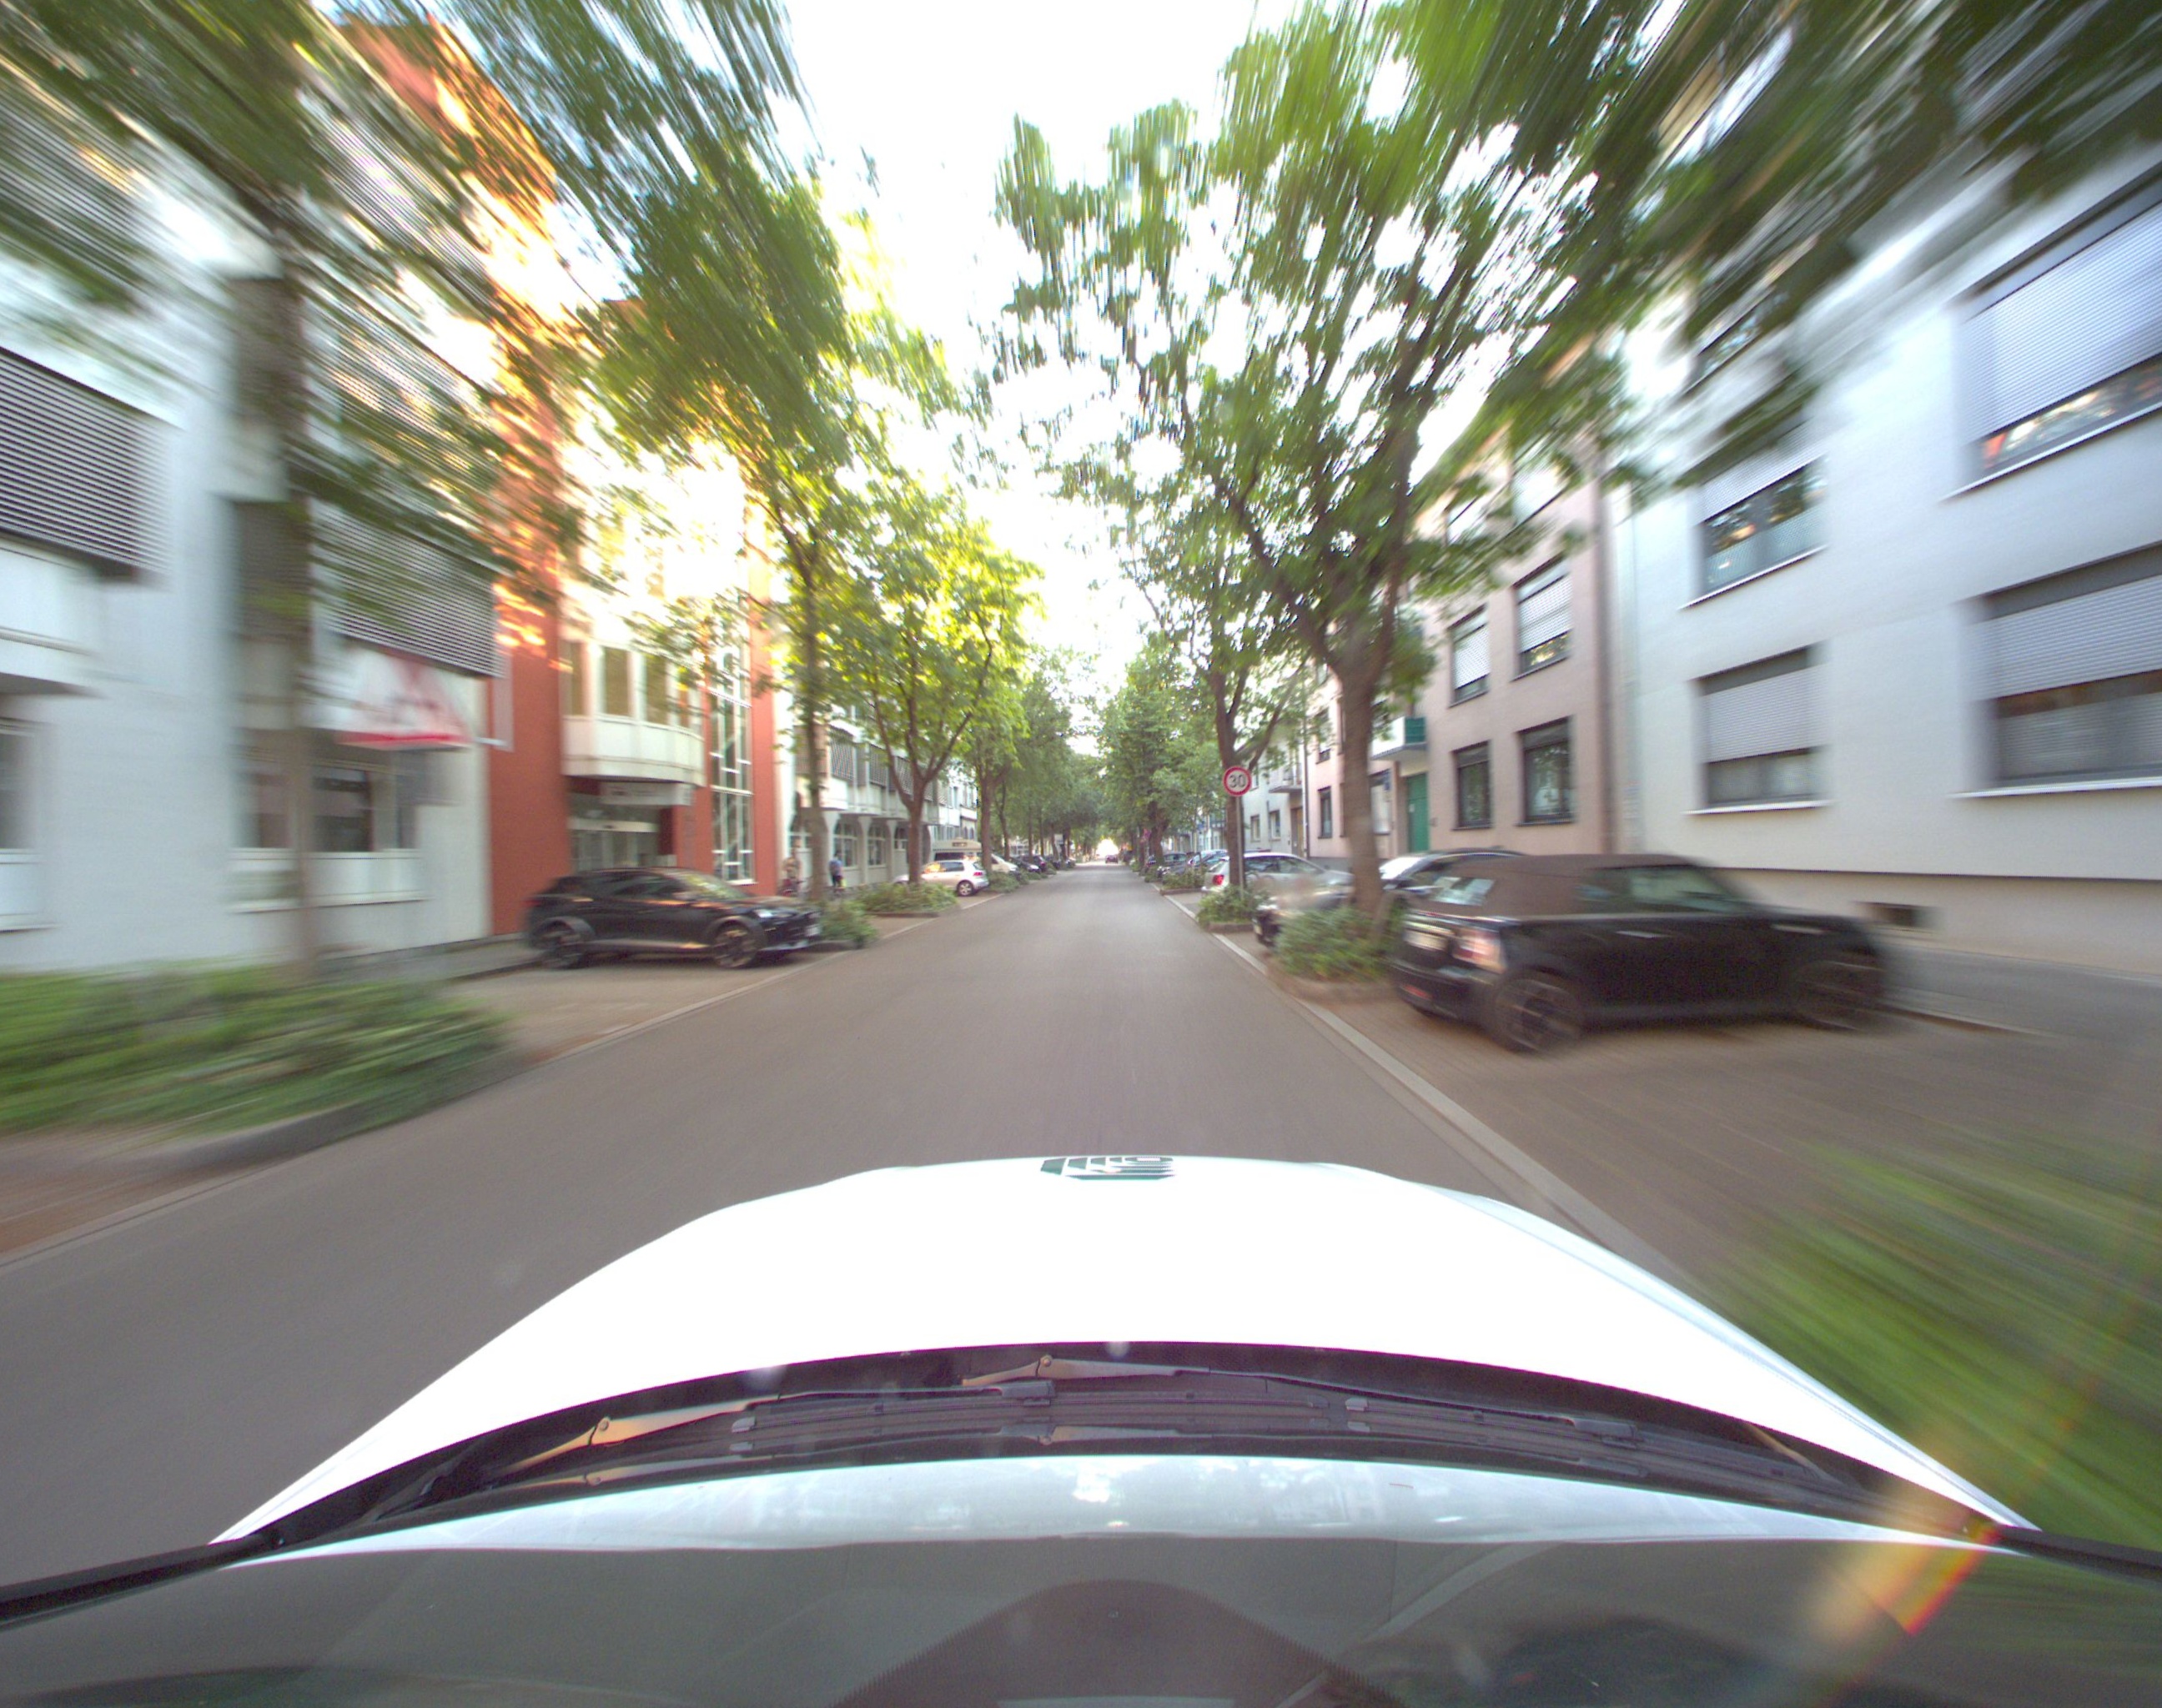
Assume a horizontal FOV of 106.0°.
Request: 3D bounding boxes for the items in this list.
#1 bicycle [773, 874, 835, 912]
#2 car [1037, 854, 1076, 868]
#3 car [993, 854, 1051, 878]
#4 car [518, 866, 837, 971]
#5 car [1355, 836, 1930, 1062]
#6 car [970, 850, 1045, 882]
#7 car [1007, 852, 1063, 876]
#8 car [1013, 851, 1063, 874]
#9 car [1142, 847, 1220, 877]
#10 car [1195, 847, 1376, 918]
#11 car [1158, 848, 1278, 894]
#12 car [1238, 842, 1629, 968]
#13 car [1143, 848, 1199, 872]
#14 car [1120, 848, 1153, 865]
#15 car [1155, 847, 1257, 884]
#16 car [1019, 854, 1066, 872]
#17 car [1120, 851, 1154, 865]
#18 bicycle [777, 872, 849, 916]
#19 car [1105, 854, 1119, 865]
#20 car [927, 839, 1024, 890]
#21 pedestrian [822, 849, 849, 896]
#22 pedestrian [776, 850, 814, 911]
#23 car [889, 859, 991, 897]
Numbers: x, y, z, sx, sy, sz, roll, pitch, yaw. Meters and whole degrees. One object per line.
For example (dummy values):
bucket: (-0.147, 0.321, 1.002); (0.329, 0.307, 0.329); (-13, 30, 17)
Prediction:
bicycle: (-7.862, 1.095, 23.101); (1.778, 1.029, 0.503); (-1, 0, 24)
car: (-3.123, 0.903, 105.016); (4.744, 1.630, 1.964); (-3, 0, 1)
car: (-4.491, 0.914, 62.463); (4.187, 1.635, 1.964); (-3, 0, 1)
car: (-6.298, 0.974, 13.082); (4.113, 1.486, 1.930); (-1, 0, 1)
car: (4.366, 0.670, 6.807); (3.472, 1.452, 1.899); (-3, 0, -1)
car: (-4.898, 0.817, 54.743); (4.665, 1.854, 1.964); (-3, 0, 1)
car: (-3.948, 0.830, 70.149); (4.578, 1.807, 1.964); (-3, 0, 1)
car: (-4.244, 0.812, 81.619); (4.744, 1.984, 1.964); (-3, 0, 1)
car: (5.987, 0.495, 48.923); (4.486, 1.521, 1.998); (-3, 0, 5)
car: (4.857, 0.654, 19.704); (3.866, 1.439, 1.847); (-3, 0, -2)
car: (5.548, 0.670, 33.502); (4.697, 1.710, 1.952); (-1, 1, 3)
car: (4.786, 0.659, 11.649); (4.693, 1.421, 2.036); (-3, 0, 1)
car: (6.832, 0.460, 62.023); (4.035, 1.597, 1.826); (-3, 0, 1)
car: (7.355, 0.347, 107.876); (4.252, 1.962, 1.964); (-3, 0, 1)
car: (6.067, 0.553, 40.002); (4.665, 1.521, 1.964); (-3, 0, 1)
car: (-4.047, 0.969, 85.937); (4.744, 1.630, 1.964); (-3, 0, 1)
car: (7.181, 0.542, 105.091); (4.252, 1.565, 1.964); (-3, 0, 1)
bicycle: (-7.215, 1.063, 21.927); (1.801, 1.107, 0.496); (-1, 0, -22)
car: (4.553, 0.800, 119.957); (1.949, 1.565, 4.285); (-3, 0, 2)
car: (-5.408, 0.519, 42.292); (4.665, 2.478, 2.001); (-1, 0, 1)
pedestrian: (-9.223, 0.682, 30.623); (0.700, 1.728, 0.905); (-1, 0, 2)
pedestrian: (-8.388, 0.778, 23.899); (0.697, 1.757, 0.744); (-1, 0, 25)
car: (-5.829, 0.964, 33.972); (3.854, 1.486, 1.759); (-1, 0, 3)
